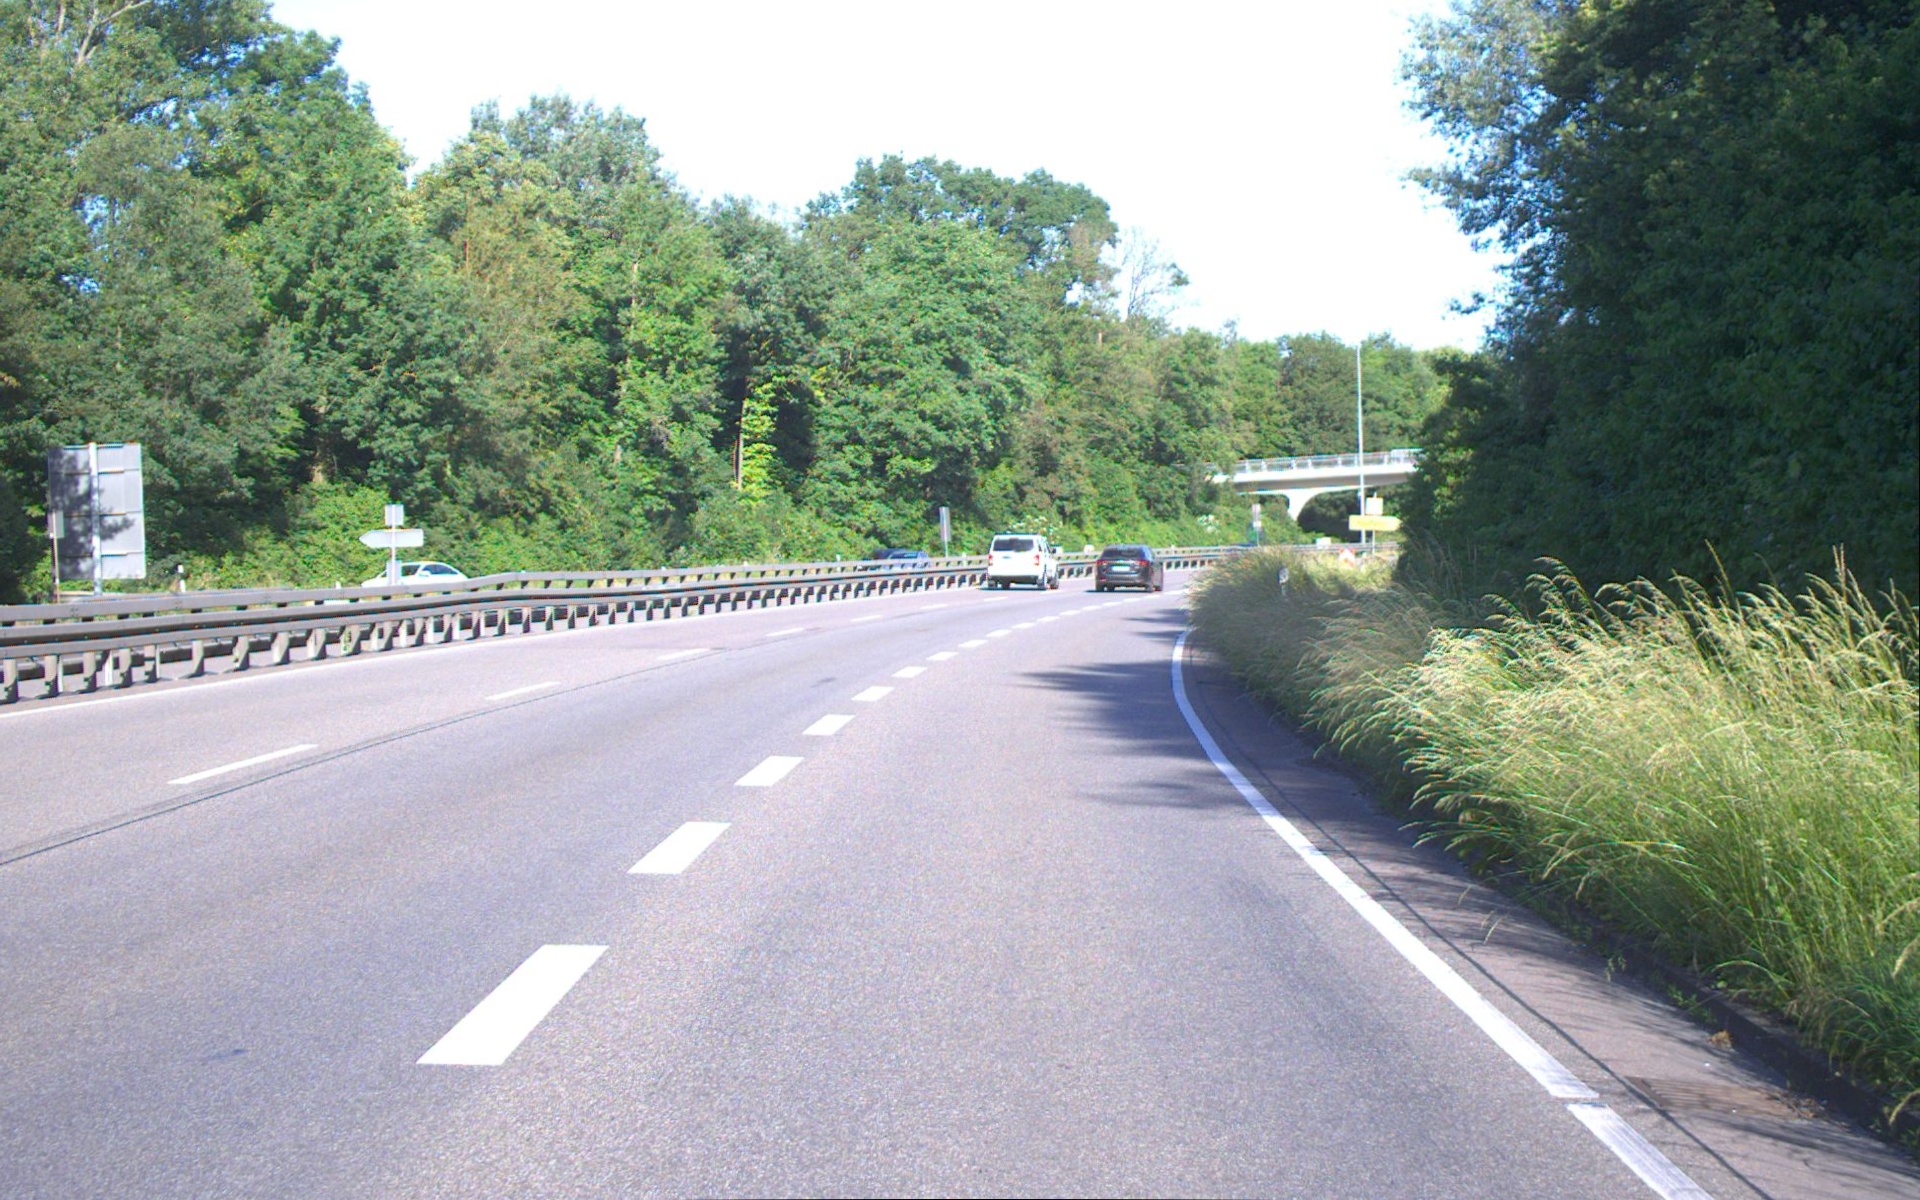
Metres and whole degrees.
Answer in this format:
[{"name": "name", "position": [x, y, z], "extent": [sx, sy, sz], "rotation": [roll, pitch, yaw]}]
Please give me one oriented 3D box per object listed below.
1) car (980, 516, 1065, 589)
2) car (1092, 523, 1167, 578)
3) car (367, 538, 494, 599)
[{"name": "car", "position": [2.018, -1.525, 110.242], "extent": [1.994, 2.270, 3.998], "rotation": [-1, 1, 12]}, {"name": "car", "position": [5.311, -1.545, 107.515], "extent": [1.740, 1.656, 3.944], "rotation": [-1, 1, 12]}, {"name": "car", "position": [-17.852, -1.047, 116.041], "extent": [1.996, 2.007, 4.622], "rotation": [0, 0, 25]}]
